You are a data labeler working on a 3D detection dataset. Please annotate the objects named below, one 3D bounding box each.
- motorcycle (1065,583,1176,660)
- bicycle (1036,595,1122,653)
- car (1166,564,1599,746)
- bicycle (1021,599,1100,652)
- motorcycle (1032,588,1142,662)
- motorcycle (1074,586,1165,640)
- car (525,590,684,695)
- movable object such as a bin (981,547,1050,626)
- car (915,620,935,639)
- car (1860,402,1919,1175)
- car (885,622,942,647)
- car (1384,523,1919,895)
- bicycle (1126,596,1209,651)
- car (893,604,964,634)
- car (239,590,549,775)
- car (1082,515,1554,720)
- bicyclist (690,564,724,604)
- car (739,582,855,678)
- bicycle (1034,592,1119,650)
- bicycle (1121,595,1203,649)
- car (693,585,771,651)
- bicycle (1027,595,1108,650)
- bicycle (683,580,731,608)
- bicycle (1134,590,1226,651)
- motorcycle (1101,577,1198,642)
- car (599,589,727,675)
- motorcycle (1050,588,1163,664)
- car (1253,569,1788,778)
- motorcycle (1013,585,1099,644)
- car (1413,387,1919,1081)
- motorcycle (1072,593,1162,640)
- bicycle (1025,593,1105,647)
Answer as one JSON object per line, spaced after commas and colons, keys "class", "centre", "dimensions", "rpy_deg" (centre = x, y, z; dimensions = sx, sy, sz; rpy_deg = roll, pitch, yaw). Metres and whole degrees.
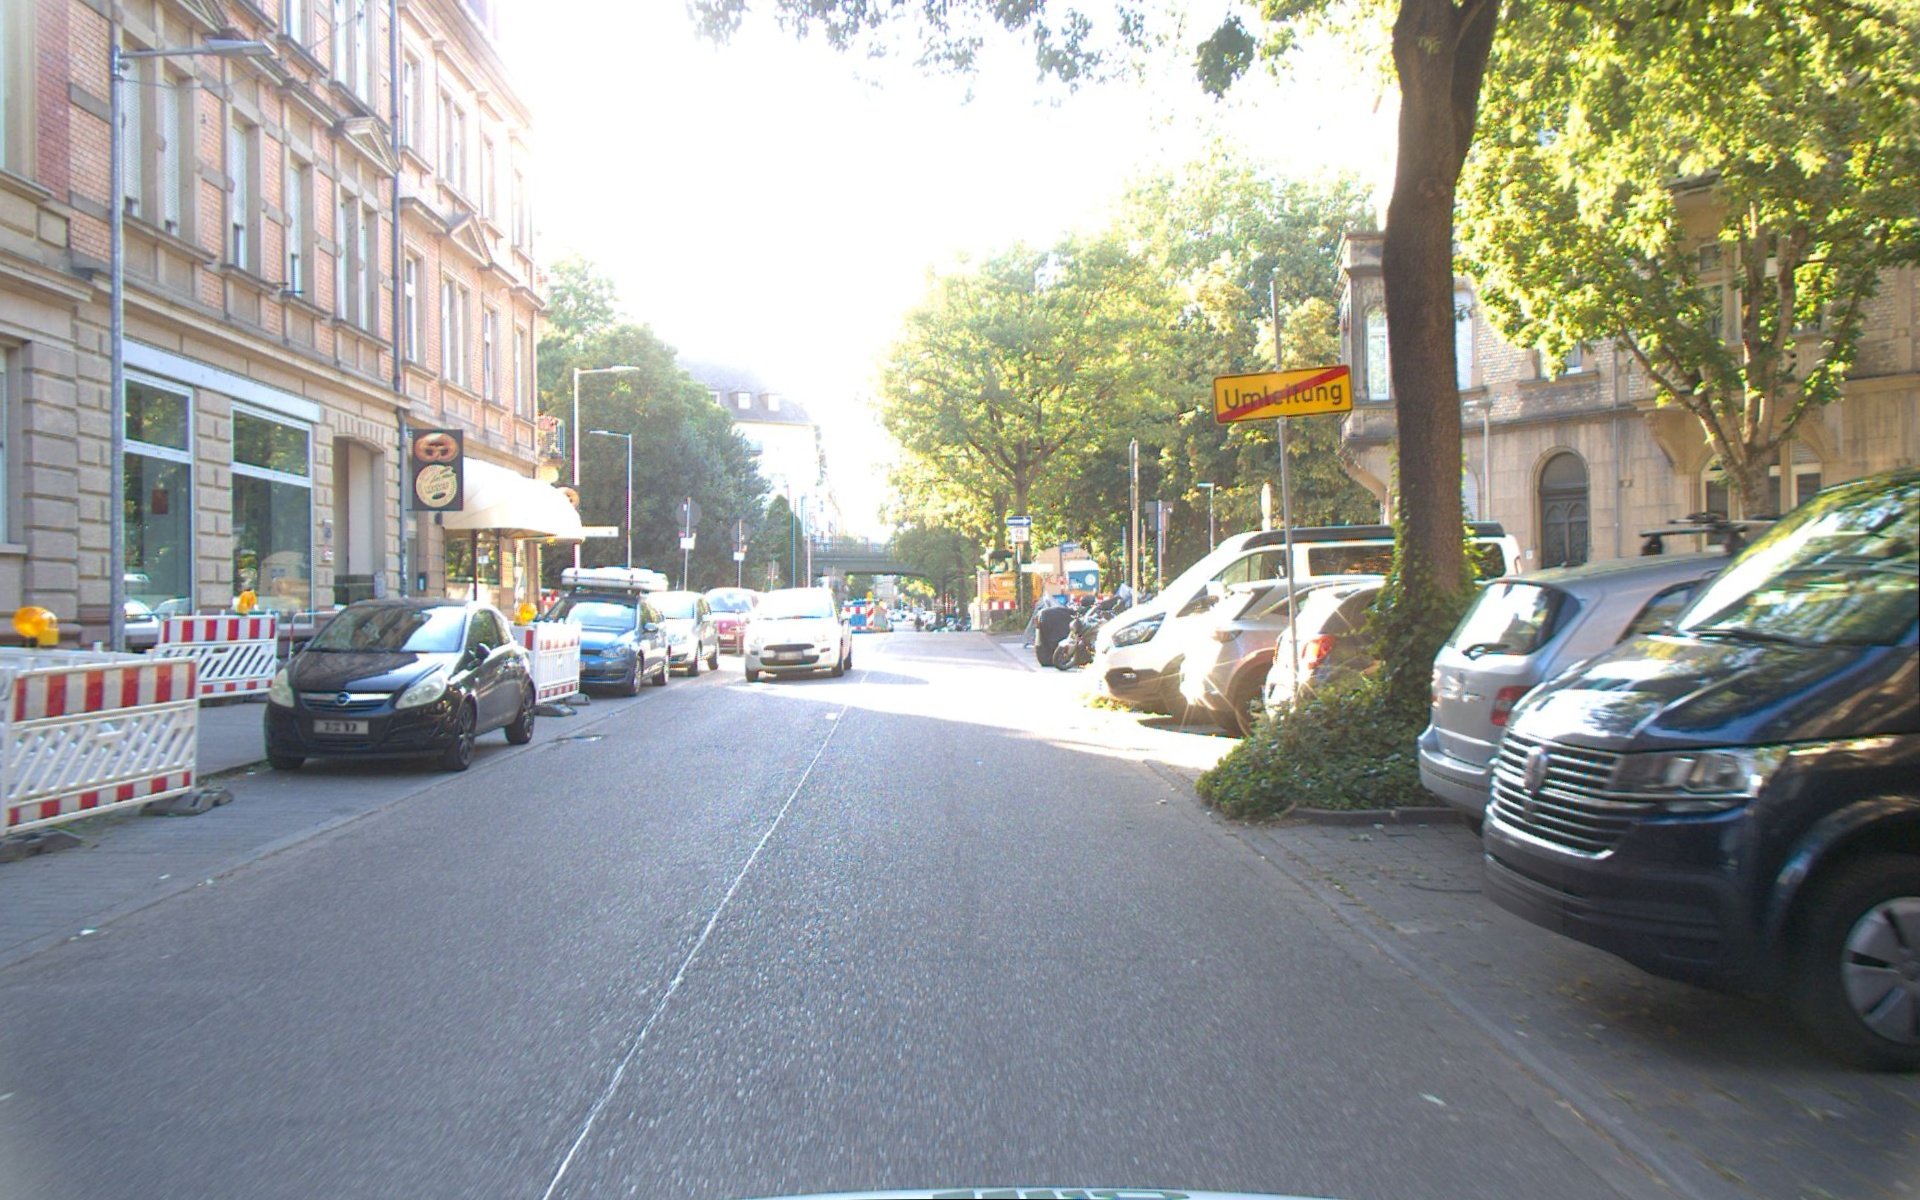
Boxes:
{"class": "motorcycle", "centre": [3.014, 0.398, 31.253], "dimensions": [1.982, 1.386, 0.694], "rpy_deg": [-2, 0, -1]}
{"class": "bicycle", "centre": [2.646, 0.537, 36.712], "dimensions": [1.888, 1.268, 0.302], "rpy_deg": [0, 0, -8]}
{"class": "car", "centre": [4.024, 0.495, 16.154], "dimensions": [3.763, 1.623, 1.740], "rpy_deg": [-1, 0, -2]}
{"class": "bicycle", "centre": [2.417, 0.605, 39.753], "dimensions": [1.888, 1.268, 0.302], "rpy_deg": [0, 0, -8]}
{"class": "motorcycle", "centre": [2.457, 0.477, 32.216], "dimensions": [1.983, 1.307, 0.903], "rpy_deg": [-3, 0, -3]}
{"class": "motorcycle", "centre": [4.072, 0.332, 42.202], "dimensions": [2.234, 1.365, 0.657], "rpy_deg": [0, 0, 10]}
{"class": "car", "centre": [-5.422, 0.589, 25.721], "dimensions": [1.729, 1.462, 4.298], "rpy_deg": [-1, 0, -3]}
{"class": "movable object such as a bin", "centre": [2.010, -0.469, 59.102], "dimensions": [1.951, 2.747, 3.113], "rpy_deg": [0, 0, 12]}
{"class": "car", "centre": [-3.165, 2.637, 150.601], "dimensions": [1.739, 1.637, 4.400], "rpy_deg": [-1, 0, -2]}
{"class": "car", "centre": [4.516, 0.441, 3.534], "dimensions": [4.185, 1.918, 1.937], "rpy_deg": [-1, 0, -5]}
{"class": "car", "centre": [-3.568, 2.633, 126.622], "dimensions": [4.301, 1.816, 1.915], "rpy_deg": [1, -3, -4]}
{"class": "car", "centre": [4.463, 0.485, 8.796], "dimensions": [3.907, 1.722, 1.799], "rpy_deg": [-1, 0, -3]}
{"class": "bicycle", "centre": [4.900, 0.541, 39.012], "dimensions": [1.888, 1.268, 0.479], "rpy_deg": [0, 0, -7]}
{"class": "car", "centre": [-1.949, 1.206, 102.150], "dimensions": [4.301, 1.732, 1.915], "rpy_deg": [1, -3, -4]}
{"class": "car", "centre": [-5.129, 0.661, 15.554], "dimensions": [1.669, 1.479, 4.018], "rpy_deg": [-1, 0, -3]}
{"class": "car", "centre": [3.931, 0.177, 18.802], "dimensions": [4.873, 2.132, 2.105], "rpy_deg": [-1, 0, -2]}
{"class": "bicyclist", "centre": [-8.834, -0.559, 57.762], "dimensions": [0.797, 1.407, 0.972], "rpy_deg": [0, 0, -37]}
{"class": "car", "centre": [-2.782, 0.471, 29.014], "dimensions": [1.713, 1.535, 3.999], "rpy_deg": [-1, 0, -1]}
{"class": "bicycle", "centre": [2.612, 0.467, 37.047], "dimensions": [1.888, 1.268, 0.302], "rpy_deg": [0, 0, -8]}
{"class": "bicycle", "centre": [4.832, 0.532, 39.594], "dimensions": [1.888, 1.268, 0.452], "rpy_deg": [0, 0, -8]}
{"class": "car", "centre": [-5.642, 0.414, 41.268], "dimensions": [1.636, 1.557, 3.997], "rpy_deg": [0, 0, -4]}
{"class": "bicycle", "centre": [2.529, 0.532, 39.053], "dimensions": [1.888, 1.268, 0.302], "rpy_deg": [0, 0, -8]}
{"class": "bicycle", "centre": [-8.845, -0.213, 57.764], "dimensions": [0.797, 0.985, 2.081], "rpy_deg": [0, 0, -36]}
{"class": "bicycle", "centre": [4.687, 0.432, 35.213], "dimensions": [1.888, 1.268, 0.479], "rpy_deg": [0, 0, -7]}
{"class": "motorcycle", "centre": [4.608, 0.232, 40.295], "dimensions": [2.239, 1.558, 0.755], "rpy_deg": [0, 0, -8]}
{"class": "car", "centre": [-5.483, 0.540, 30.938], "dimensions": [1.690, 1.462, 3.995], "rpy_deg": [1, 0, -1]}
{"class": "motorcycle", "centre": [2.672, 0.467, 30.315], "dimensions": [1.975, 1.350, 0.620], "rpy_deg": [-1, 0, -5]}
{"class": "car", "centre": [4.467, 0.554, 13.605], "dimensions": [3.763, 1.542, 1.847], "rpy_deg": [-1, 0, -2]}
{"class": "motorcycle", "centre": [2.371, 0.356, 40.866], "dimensions": [1.894, 1.437, 0.940], "rpy_deg": [0, 0, 27]}
{"class": "car", "centre": [4.216, 0.352, 6.058], "dimensions": [4.524, 2.049, 1.999], "rpy_deg": [-1, 0, -4]}
{"class": "motorcycle", "centre": [4.100, 0.431, 43.081], "dimensions": [2.234, 1.200, 0.972], "rpy_deg": [0, 0, 11]}
{"class": "bicycle", "centre": [2.494, 0.475, 39.372], "dimensions": [1.888, 1.268, 0.302], "rpy_deg": [0, 0, -8]}
